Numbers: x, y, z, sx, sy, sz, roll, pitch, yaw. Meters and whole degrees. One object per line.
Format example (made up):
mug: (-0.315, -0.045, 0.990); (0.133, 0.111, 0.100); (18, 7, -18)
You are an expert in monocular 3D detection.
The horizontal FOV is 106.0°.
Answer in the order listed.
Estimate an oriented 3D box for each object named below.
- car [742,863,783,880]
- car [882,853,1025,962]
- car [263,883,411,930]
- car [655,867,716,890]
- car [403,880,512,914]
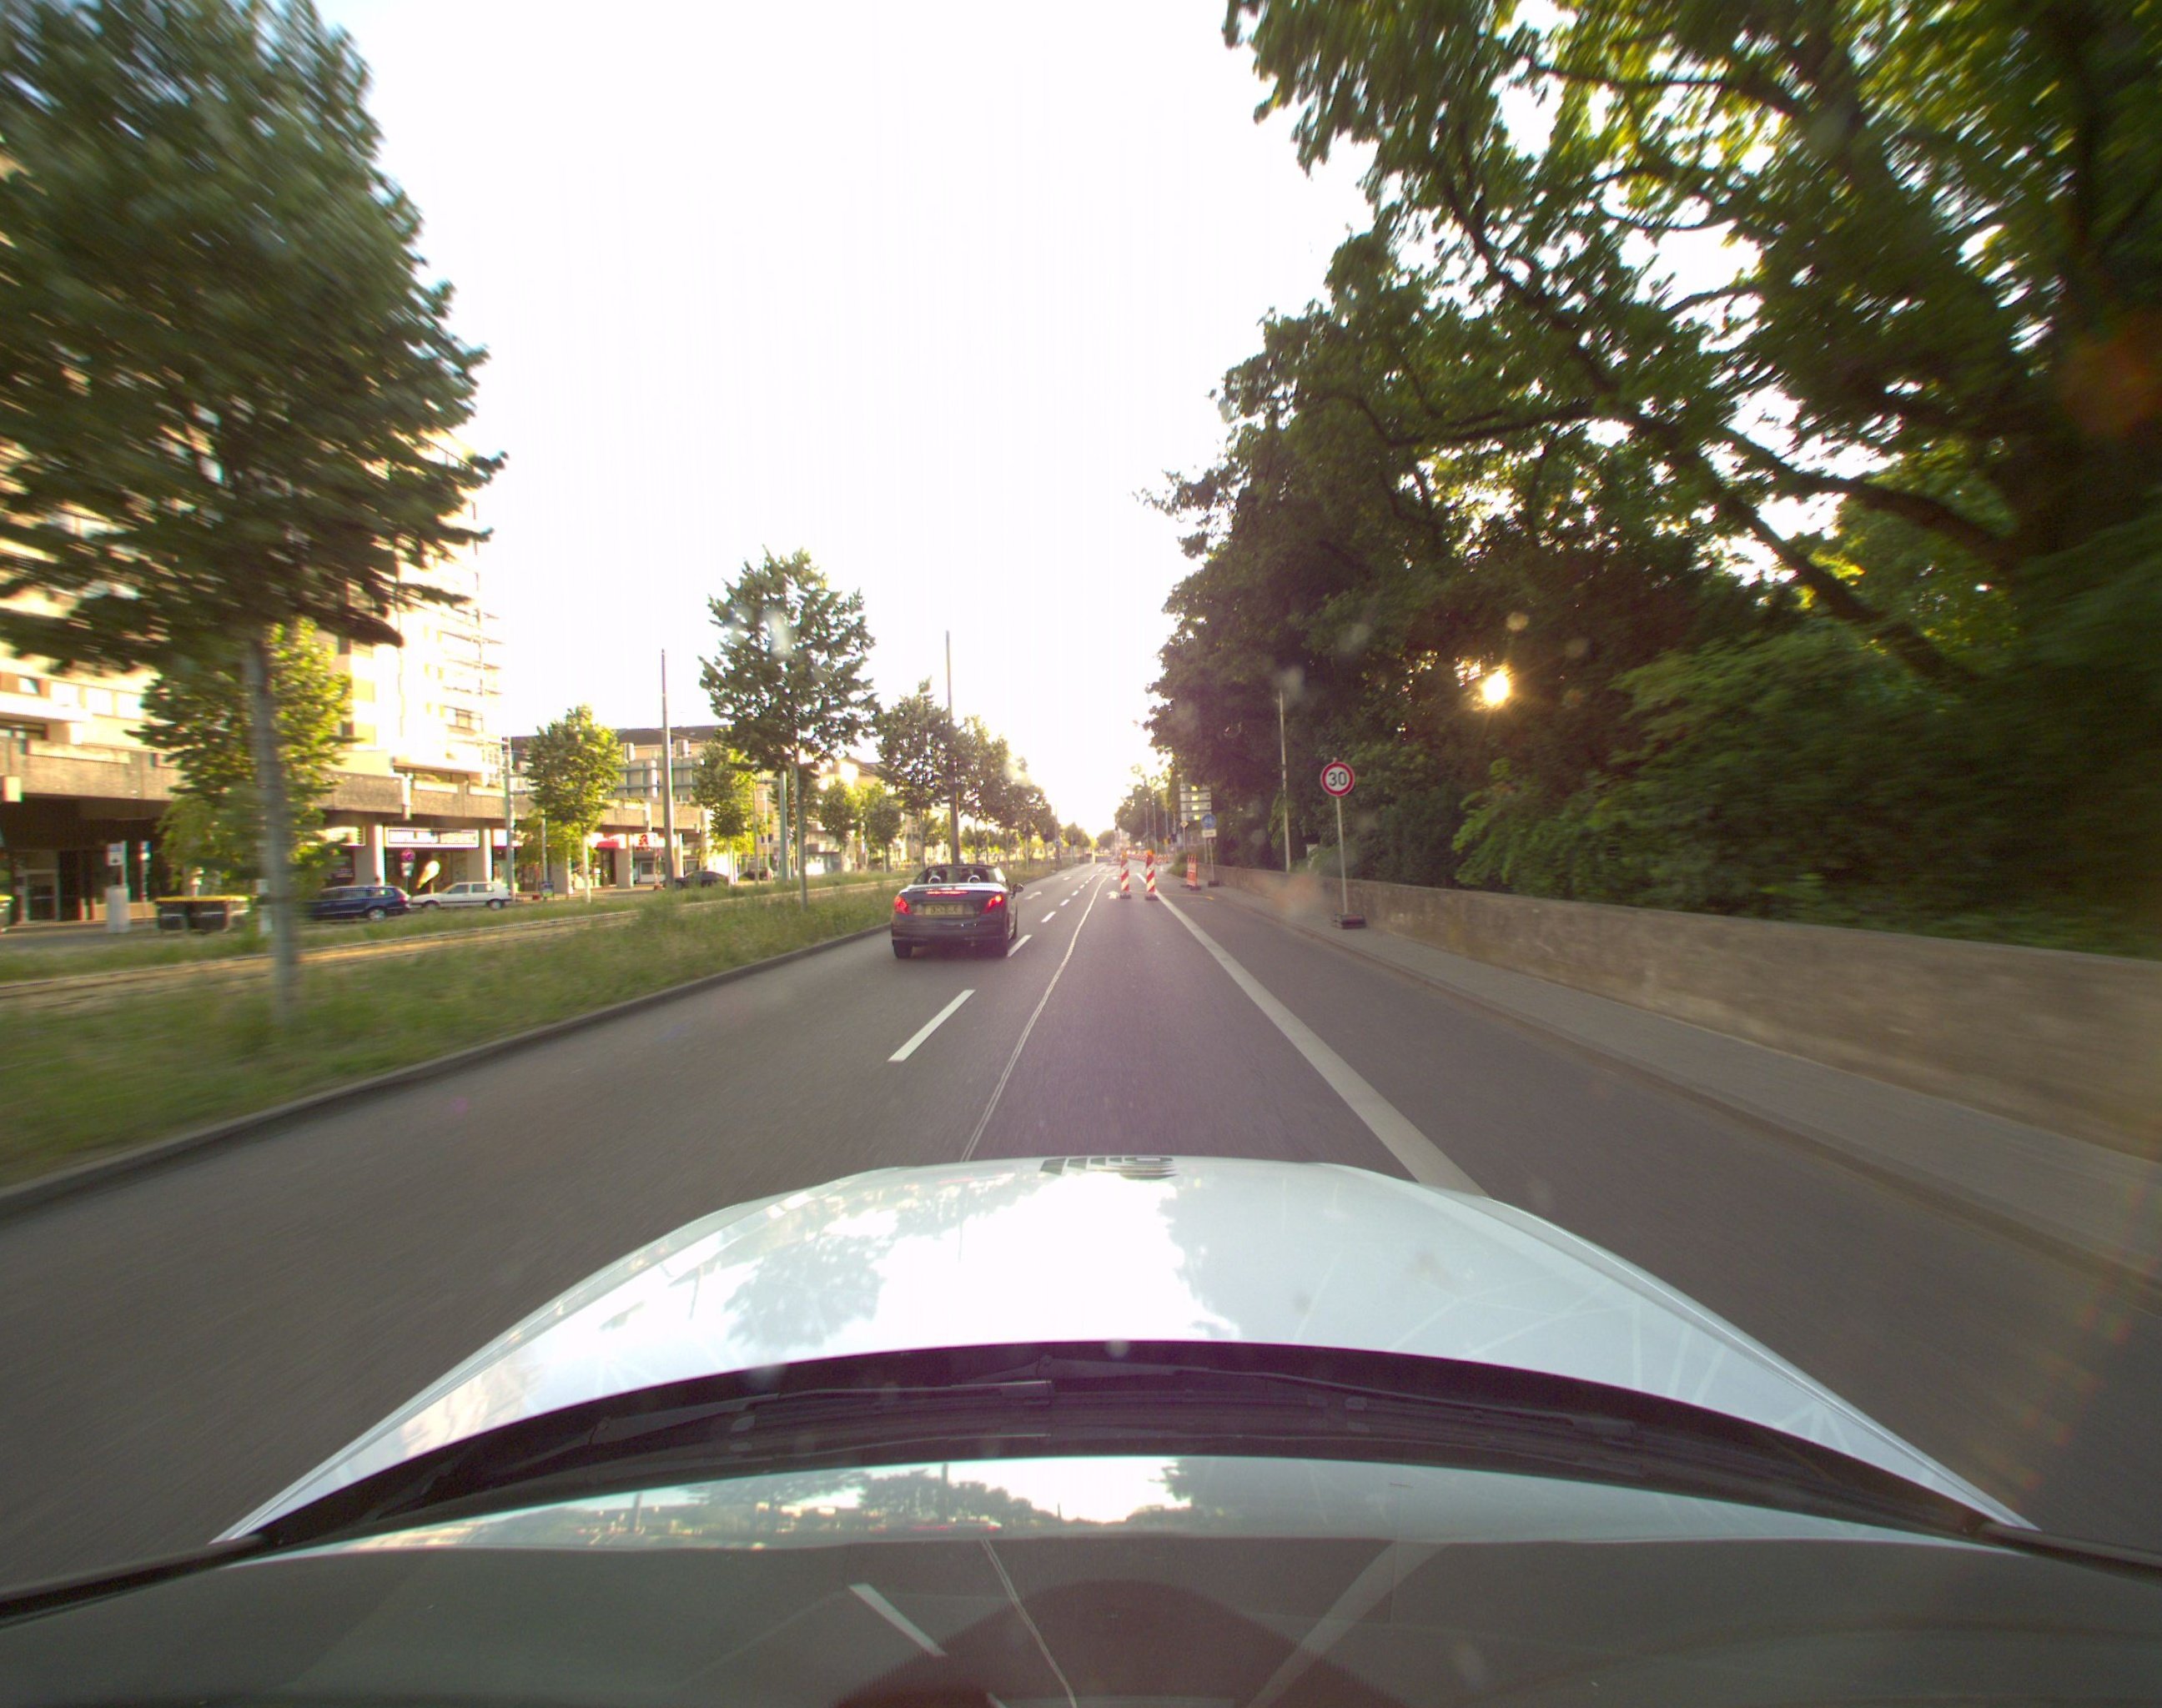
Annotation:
car: (-38.408, 2.056, 98.348); (3.919, 1.845, 2.192); (-2, 0, 1)
car: (-1.914, 0.745, 13.325); (1.713, 1.449, 3.900); (-1, 0, -1)
car: (-30.396, 2.084, 33.487); (4.306, 1.590, 1.986); (-2, 0, -38)
car: (-29.662, 1.826, 61.165); (3.750, 1.450, 1.723); (-3, -1, -40)
car: (-30.373, 2.072, 39.835); (4.150, 1.436, 1.805); (-1, 0, -37)
